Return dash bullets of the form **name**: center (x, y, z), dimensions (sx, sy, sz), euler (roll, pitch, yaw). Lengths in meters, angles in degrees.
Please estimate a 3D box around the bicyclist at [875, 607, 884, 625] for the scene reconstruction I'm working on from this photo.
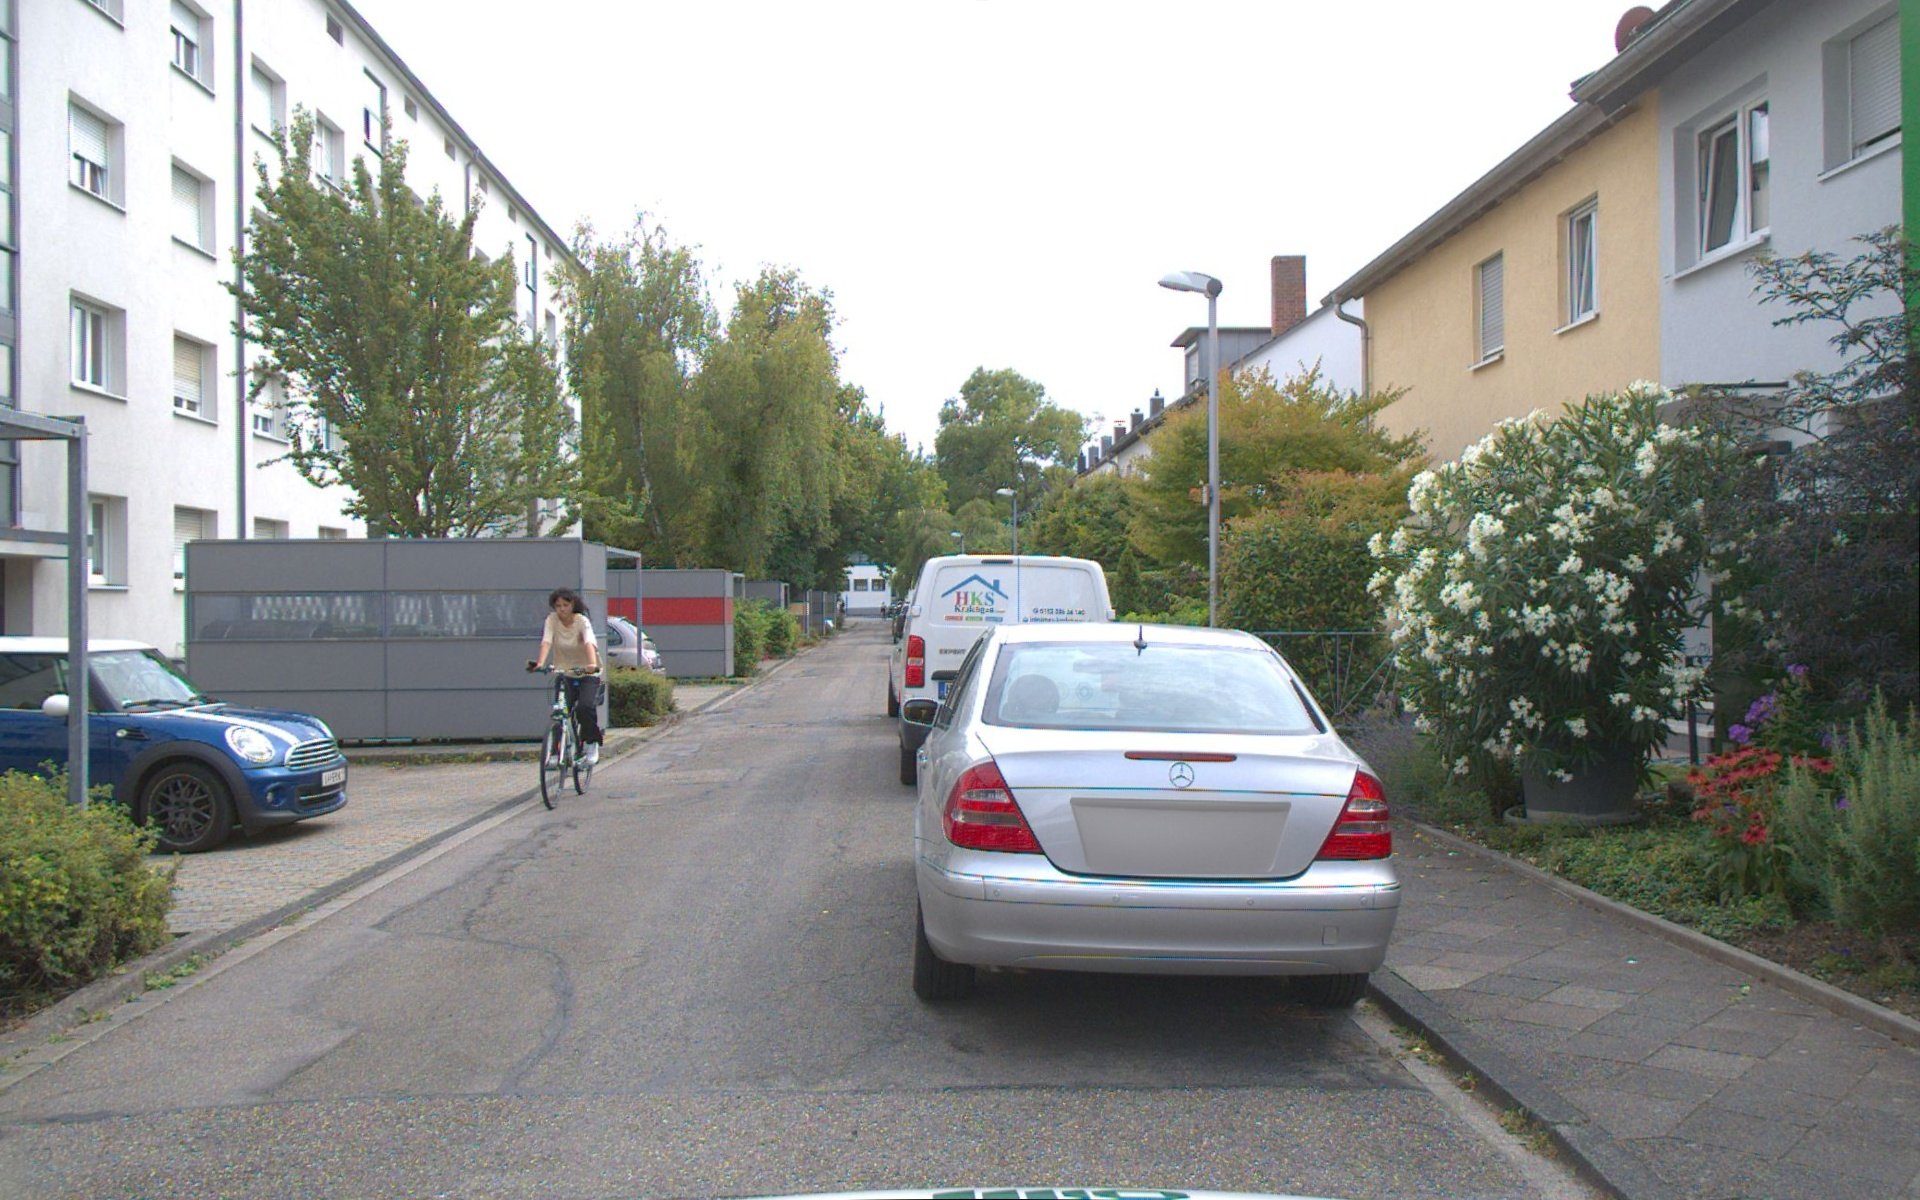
- **bicyclist**: center (-7.197, 1.440, 147.750), dimensions (0.782, 1.537, 0.934), euler (1, -1, 0)

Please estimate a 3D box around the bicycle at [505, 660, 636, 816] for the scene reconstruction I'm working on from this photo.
- **bicycle**: center (-3.163, 1.088, 13.600), dimensions (0.585, 1.095, 2.042), euler (-2, 0, -1)

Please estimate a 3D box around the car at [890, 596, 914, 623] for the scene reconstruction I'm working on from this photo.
- **car**: center (-4.354, 0.707, 124.181), dimensions (1.788, 1.916, 3.998), euler (1, 0, -2)

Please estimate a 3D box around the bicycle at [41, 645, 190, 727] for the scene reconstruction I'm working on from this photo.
- **bicycle**: center (-11.755, 1.182, 23.061), dimensions (1.796, 1.042, 0.471), euler (-1, 0, -44)

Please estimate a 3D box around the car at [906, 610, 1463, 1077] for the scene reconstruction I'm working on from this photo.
- **car**: center (0.681, 0.784, 7.437), dimensions (1.747, 1.445, 4.454), euler (1, 0, -1)

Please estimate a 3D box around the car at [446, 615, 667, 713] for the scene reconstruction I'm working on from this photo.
- **car**: center (-6.912, 1.071, 28.626), dimensions (3.494, 1.506, 1.708), euler (-2, 0, -7)

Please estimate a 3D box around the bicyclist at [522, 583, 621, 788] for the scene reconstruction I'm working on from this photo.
- **bicyclist**: center (-3.177, 0.684, 13.574), dimensions (0.585, 1.608, 0.767), euler (-2, 0, -1)

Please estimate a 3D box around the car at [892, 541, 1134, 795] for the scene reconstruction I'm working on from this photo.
- **car**: center (0.316, 0.554, 15.753), dimensions (1.866, 1.999, 5.250), euler (1, 0, -3)

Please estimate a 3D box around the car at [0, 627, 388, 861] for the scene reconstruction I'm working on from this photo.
- **car**: center (-6.203, 1.000, 11.881), dimensions (3.560, 1.487, 1.653), euler (-2, 0, 1)

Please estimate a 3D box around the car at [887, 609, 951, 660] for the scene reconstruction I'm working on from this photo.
- **car**: center (-1.224, 0.982, 49.113), dimensions (1.788, 1.394, 4.329), euler (1, 0, -2)

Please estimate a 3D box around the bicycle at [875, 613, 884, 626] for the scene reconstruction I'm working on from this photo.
- **bicycle**: center (-7.204, 1.760, 147.673), dimensions (0.675, 1.151, 2.579), euler (1, 0, 0)

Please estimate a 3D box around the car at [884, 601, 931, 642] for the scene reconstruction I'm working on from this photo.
- **car**: center (-2.180, 0.862, 67.812), dimensions (1.789, 1.609, 3.997), euler (1, 0, -4)

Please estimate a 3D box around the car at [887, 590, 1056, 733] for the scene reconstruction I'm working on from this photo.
- **car**: center (0.052, 0.727, 21.459), dimensions (1.789, 1.664, 4.157), euler (1, 0, -5)

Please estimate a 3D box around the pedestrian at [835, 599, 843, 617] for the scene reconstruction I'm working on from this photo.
- **pedestrian**: center (-12.355, 0.791, 169.151), dimensions (0.761, 1.837, 0.547), euler (1, -1, -4)

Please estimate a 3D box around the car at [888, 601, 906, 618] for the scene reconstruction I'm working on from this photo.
- **car**: center (-6.286, 0.970, 165.242), dimensions (1.788, 1.609, 3.998), euler (1, 0, -2)
